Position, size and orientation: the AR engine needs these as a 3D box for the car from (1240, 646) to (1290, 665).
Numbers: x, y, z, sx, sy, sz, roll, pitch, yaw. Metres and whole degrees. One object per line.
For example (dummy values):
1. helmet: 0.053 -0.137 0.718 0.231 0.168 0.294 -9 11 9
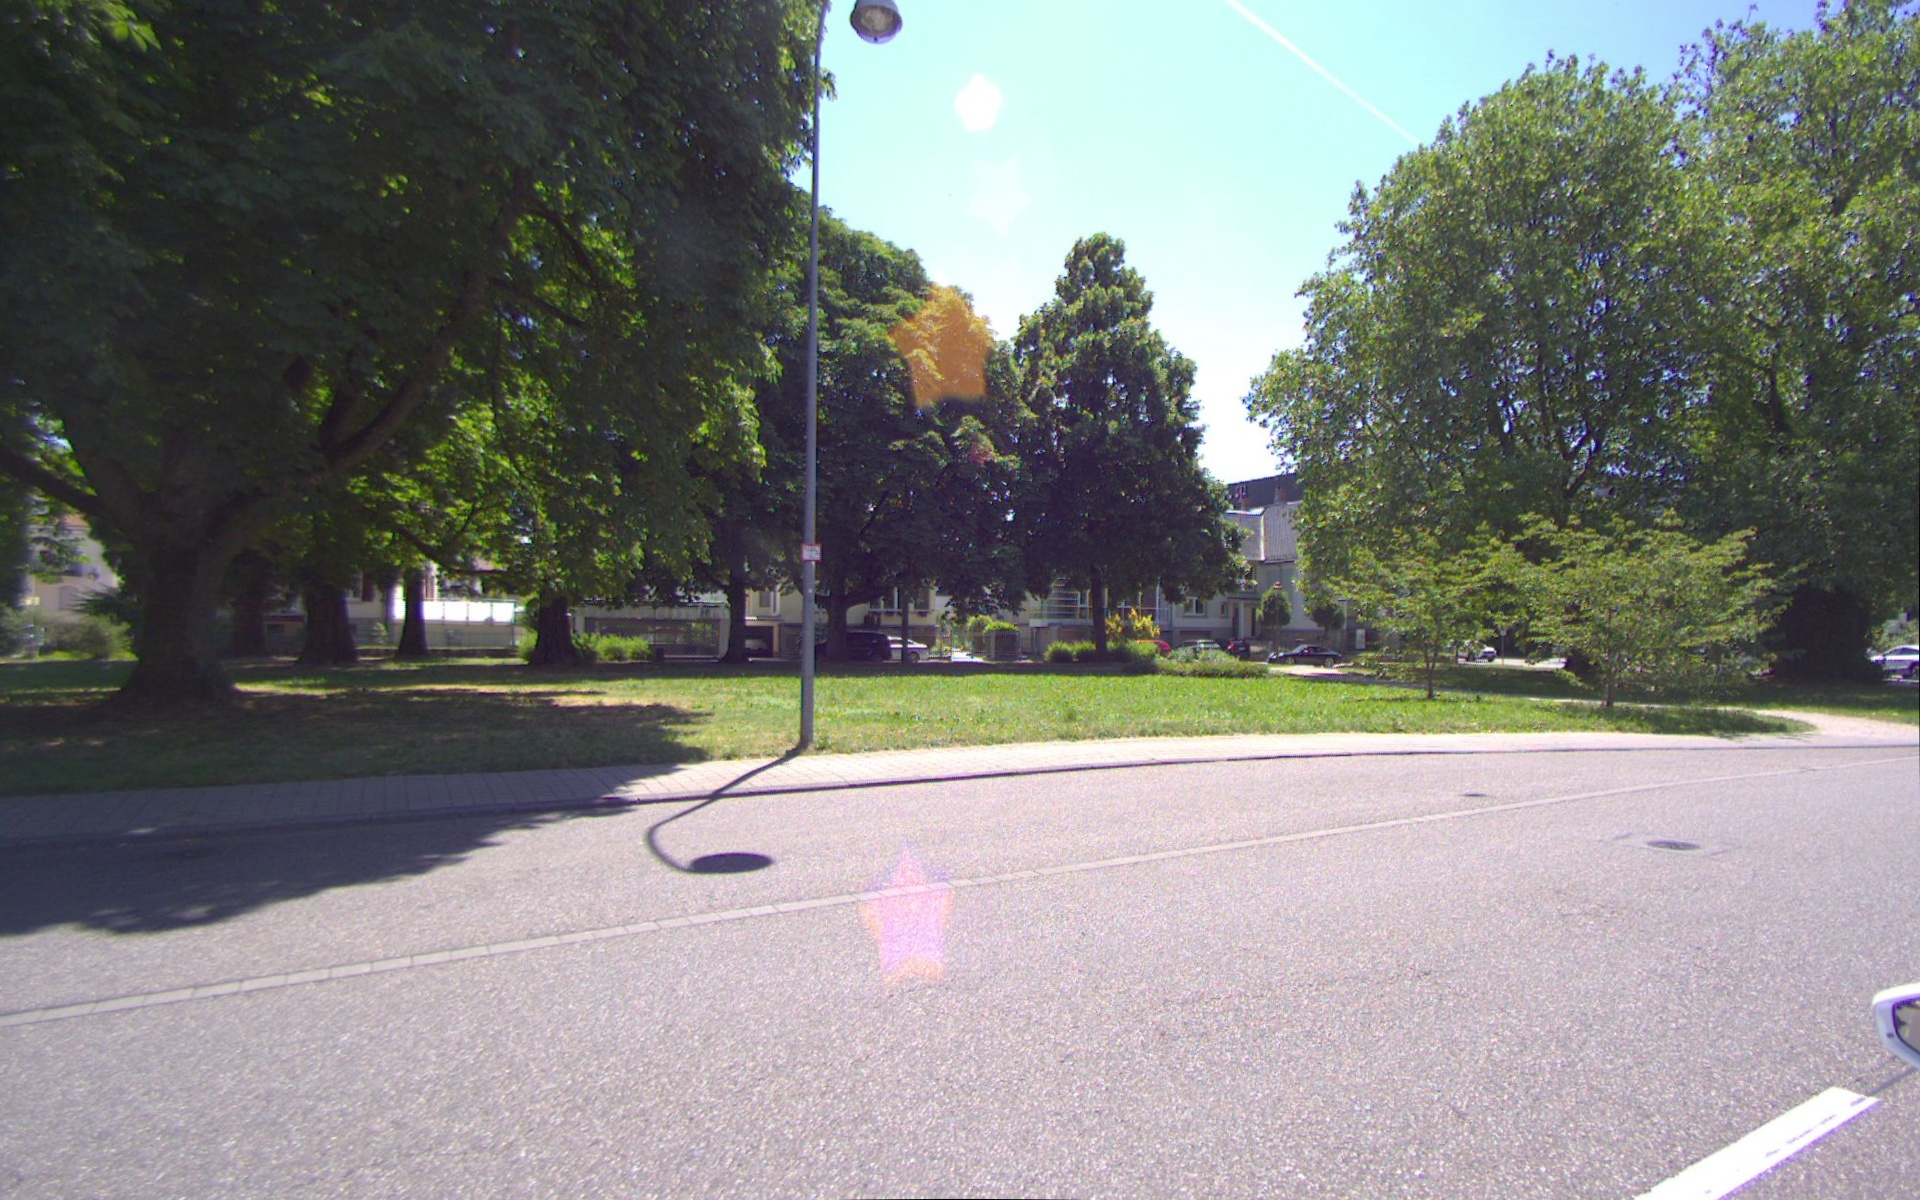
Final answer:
1. car: 20.672 3.737 68.286 1.455 1.200 3.557 1 -2 -19

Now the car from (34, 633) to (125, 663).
1. car: -42.624 2.294 48.743 1.610 1.367 4.035 1 -2 -14

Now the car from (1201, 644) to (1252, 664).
1. car: 18.120 3.677 68.383 1.686 1.268 3.721 1 -2 -17

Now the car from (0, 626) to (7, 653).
1. car: -49.779 1.964 49.991 1.610 1.367 4.035 1 -2 -14

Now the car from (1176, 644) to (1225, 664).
1. car: 15.926 3.559 66.713 1.537 1.200 3.557 1 -2 -19

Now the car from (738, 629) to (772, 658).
1. car: -12.718 2.685 62.191 1.814 1.669 3.988 1 -2 -15

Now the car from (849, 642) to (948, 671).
1. car: -3.190 2.904 51.715 4.802 1.367 1.988 1 -2 -14

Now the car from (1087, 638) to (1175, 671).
1. car: 10.233 3.255 60.163 4.802 1.870 1.988 1 -2 -14

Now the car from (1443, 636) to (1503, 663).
1. car: 40.220 3.875 78.854 1.873 1.830 3.983 3 0 -19

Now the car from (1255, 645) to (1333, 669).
1. car: 19.386 3.288 58.356 3.912 1.328 1.822 1 -2 -4

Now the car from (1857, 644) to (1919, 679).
1. car: 46.817 2.992 49.281 1.949 1.648 4.782 0 -2 11

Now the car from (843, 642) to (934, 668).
1. car: -4.022 3.074 56.004 4.802 1.367 1.988 1 -2 -14

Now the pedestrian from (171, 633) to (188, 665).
1. pedestrian: -37.137 2.311 47.819 0.476 1.510 0.389 1 -1 -14
